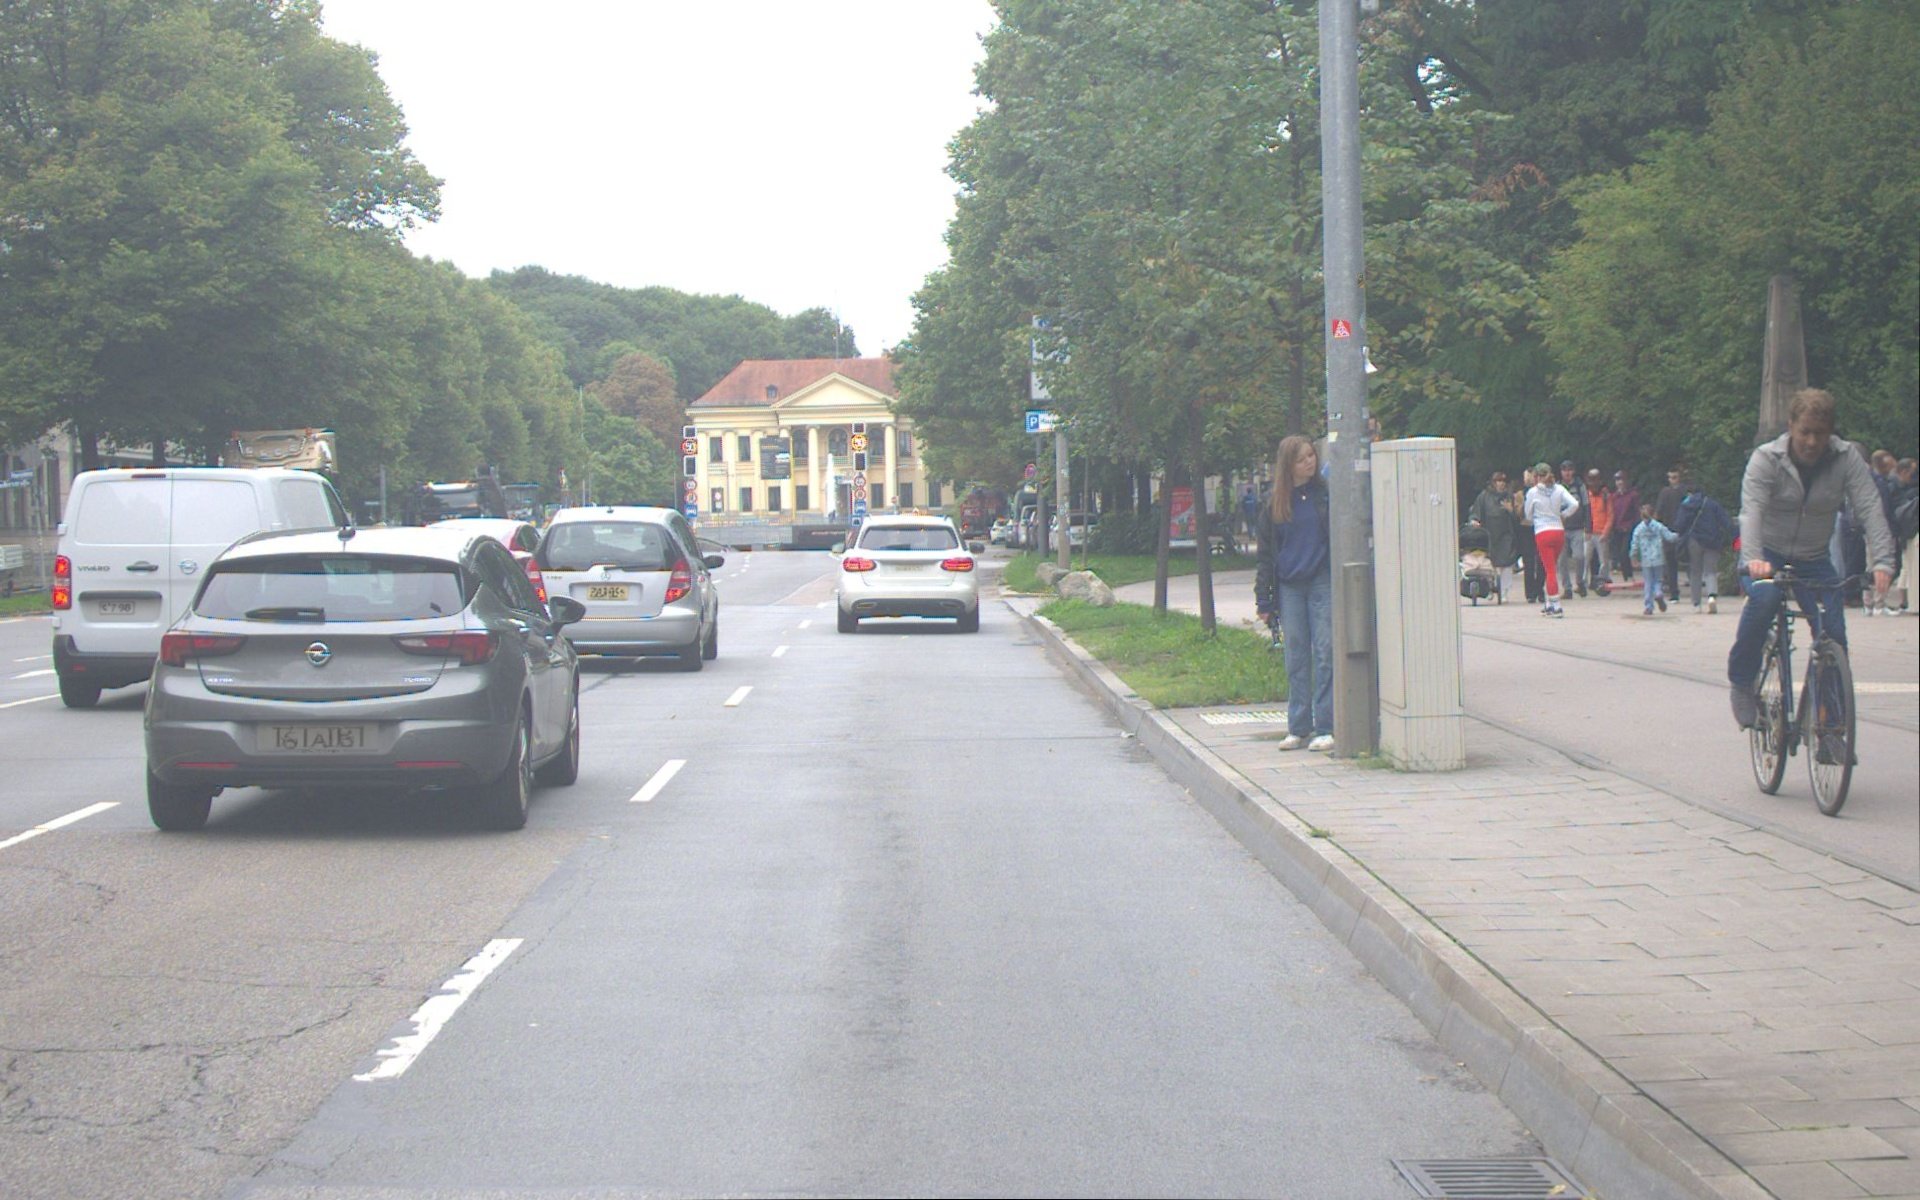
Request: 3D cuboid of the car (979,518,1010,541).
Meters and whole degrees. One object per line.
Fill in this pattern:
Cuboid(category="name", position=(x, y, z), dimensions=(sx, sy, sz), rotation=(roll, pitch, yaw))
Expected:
Cuboid(category="car", position=(1.997, -4.107, 200.596), dimensions=(1.724, 1.319, 4.028), rotation=(-1, 1, 0))

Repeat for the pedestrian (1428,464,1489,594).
Cuboid(category="pedestrian", position=(6.539, -0.930, 45.094), dimensions=(0.726, 1.685, 0.648), rotation=(1, 1, 4))

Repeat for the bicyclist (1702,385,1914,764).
Cuboid(category="bicyclist", position=(3.562, -0.111, 14.476), dimensions=(0.708, 1.556, 0.639), rotation=(1, 1, -1))

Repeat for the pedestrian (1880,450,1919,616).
Cuboid(category="pedestrian", position=(10.267, -0.708, 36.477), dimensions=(0.812, 1.733, 0.728), rotation=(1, 1, 2))

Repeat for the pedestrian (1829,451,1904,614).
Cuboid(category="pedestrian", position=(9.514, -0.706, 36.087), dimensions=(0.591, 1.685, 0.728), rotation=(1, 1, 2))

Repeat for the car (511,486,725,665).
Cuboid(category="car", position=(-3.302, -0.267, 33.862), dimensions=(1.779, 1.648, 4.000), rotation=(1, 1, -1))

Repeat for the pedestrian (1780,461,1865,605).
Cuboid(category="pedestrian", position=(10.235, -0.797, 40.811), dimensions=(0.812, 1.685, 0.728), rotation=(1, 1, 2))

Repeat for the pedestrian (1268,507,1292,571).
Cuboid(category="pedestrian", position=(8.843, -1.680, 95.004), dimensions=(0.630, 1.767, 0.782), rotation=(1, 1, 3))

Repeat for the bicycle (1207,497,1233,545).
Cuboid(category="bicycle", position=(5.611, -1.694, 74.280), dimensions=(0.384, 1.018, 2.079), rotation=(1, 1, 0))

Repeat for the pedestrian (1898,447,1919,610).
Cuboid(category="pedestrian", position=(10.261, -0.740, 35.731), dimensions=(0.812, 1.685, 0.728), rotation=(1, 1, 2))

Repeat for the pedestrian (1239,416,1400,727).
Cuboid(category="pedestrian", position=(2.216, -0.180, 21.179), dimensions=(0.805, 1.874, 0.543), rotation=(1, 1, 36))

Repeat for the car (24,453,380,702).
Cuboid(category="car", position=(-6.102, -0.203, 28.251), dimensions=(1.898, 1.841, 4.956), rotation=(-1, 1, -1))

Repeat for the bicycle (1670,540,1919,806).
Cuboid(category="bicycle", position=(3.542, 0.268, 14.420), dimensions=(0.675, 1.027, 2.013), rotation=(1, 1, -1))

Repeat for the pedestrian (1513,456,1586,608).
Cuboid(category="pedestrian", position=(6.622, -0.765, 38.655), dimensions=(0.726, 1.685, 0.648), rotation=(1, 1, 5))

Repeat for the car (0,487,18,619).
Cuboid(category="car", position=(-21.261, -0.854, 66.200), dimensions=(5.679, 2.528, 2.157), rotation=(-1, 1, -4))

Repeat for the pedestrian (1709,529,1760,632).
Cuboid(category="pedestrian", position=(8.730, -0.222, 38.769), dimensions=(0.458, 1.149, 0.648), rotation=(1, 1, 4))

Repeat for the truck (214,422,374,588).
Cuboid(category="truck", position=(-15.862, -2.246, 82.347), dimensions=(2.915, 3.761, 7.667), rotation=(0, 1, -5))

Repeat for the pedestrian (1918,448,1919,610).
Cuboid(category="pedestrian", position=(10.261, -0.839, 34.993), dimensions=(0.812, 1.910, 0.728), rotation=(1, 1, 2))

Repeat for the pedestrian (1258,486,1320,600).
Cuboid(category="pedestrian", position=(4.799, -0.827, 50.102), dimensions=(0.755, 1.638, 0.849), rotation=(1, 1, 15))

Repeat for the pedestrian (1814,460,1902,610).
Cuboid(category="pedestrian", position=(10.193, -0.736, 39.035), dimensions=(0.812, 1.685, 0.728), rotation=(-1, 1, 2))

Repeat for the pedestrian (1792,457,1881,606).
Cuboid(category="pedestrian", position=(10.148, -0.787, 39.826), dimensions=(0.812, 1.685, 0.728), rotation=(-2, 1, 2))

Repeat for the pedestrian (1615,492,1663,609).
Cuboid(category="pedestrian", position=(7.776, -0.569, 39.388), dimensions=(0.458, 1.322, 0.648), rotation=(1, 1, 4))

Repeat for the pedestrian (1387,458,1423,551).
Cuboid(category="pedestrian", position=(8.827, -1.893, 68.169), dimensions=(0.588, 1.816, 0.850), rotation=(1, 1, 0))

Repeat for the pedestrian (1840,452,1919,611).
Cuboid(category="pedestrian", position=(10.061, -0.744, 37.277), dimensions=(0.812, 1.685, 0.728), rotation=(-2, 1, 2))

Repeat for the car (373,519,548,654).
Cuboid(category="car", position=(-6.400, -0.204, 44.371), dimensions=(1.779, 1.648, 4.000), rotation=(0, 1, -2))

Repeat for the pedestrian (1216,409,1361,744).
Cuboid(category="pedestrian", position=(1.802, -0.133, 18.910), dimensions=(0.708, 1.802, 0.639), rotation=(1, 1, -1))

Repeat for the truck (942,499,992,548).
Cuboid(category="truck", position=(0.427, -5.298, 238.650), dimensions=(3.325, 3.355, 8.663), rotation=(1, 1, -1))

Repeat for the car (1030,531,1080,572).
Cuboid(category="car", position=(3.518, -1.829, 128.074), dimensions=(1.724, 1.459, 4.776), rotation=(-1, 1, 0))

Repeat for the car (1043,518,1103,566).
Cuboid(category="car", position=(3.789, -1.949, 115.875), dimensions=(1.827, 1.544, 4.752), rotation=(-1, 1, 0))

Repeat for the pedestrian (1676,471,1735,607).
Cuboid(category="pedestrian", position=(8.428, -0.686, 38.902), dimensions=(0.549, 1.522, 0.648), rotation=(1, 1, 4))

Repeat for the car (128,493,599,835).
Cuboid(category="car", position=(-2.926, 0.253, 17.655), dimensions=(1.710, 1.546, 4.000), rotation=(1, 1, 0))

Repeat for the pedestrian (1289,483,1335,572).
Cuboid(category="pedestrian", position=(6.913, -1.428, 67.419), dimensions=(0.755, 1.731, 0.849), rotation=(1, 1, 15))

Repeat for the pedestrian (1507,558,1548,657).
Cuboid(category="pedestrian", position=(9.684, 0.122, 58.664), dimensions=(0.632, 1.661, 0.572), rotation=(1, 1, 15))

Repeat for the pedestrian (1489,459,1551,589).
Cuboid(category="pedestrian", position=(7.315, -0.990, 44.964), dimensions=(0.726, 1.685, 0.648), rotation=(1, 1, 4))

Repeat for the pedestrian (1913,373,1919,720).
Cuboid(category="pedestrian", position=(5.358, -0.272, 17.683), dimensions=(0.708, 1.802, 0.639), rotation=(1, 1, -1))

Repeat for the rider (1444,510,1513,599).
Cuboid(category="rider", position=(6.630, -0.588, 44.027), dimensions=(0.765, 1.108, 1.244), rotation=(1, 1, 4))

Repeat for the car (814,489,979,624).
Cuboid(category="car", position=(-0.856, -0.568, 43.988), dimensions=(1.779, 1.639, 4.001), rotation=(0, 1, -6))
